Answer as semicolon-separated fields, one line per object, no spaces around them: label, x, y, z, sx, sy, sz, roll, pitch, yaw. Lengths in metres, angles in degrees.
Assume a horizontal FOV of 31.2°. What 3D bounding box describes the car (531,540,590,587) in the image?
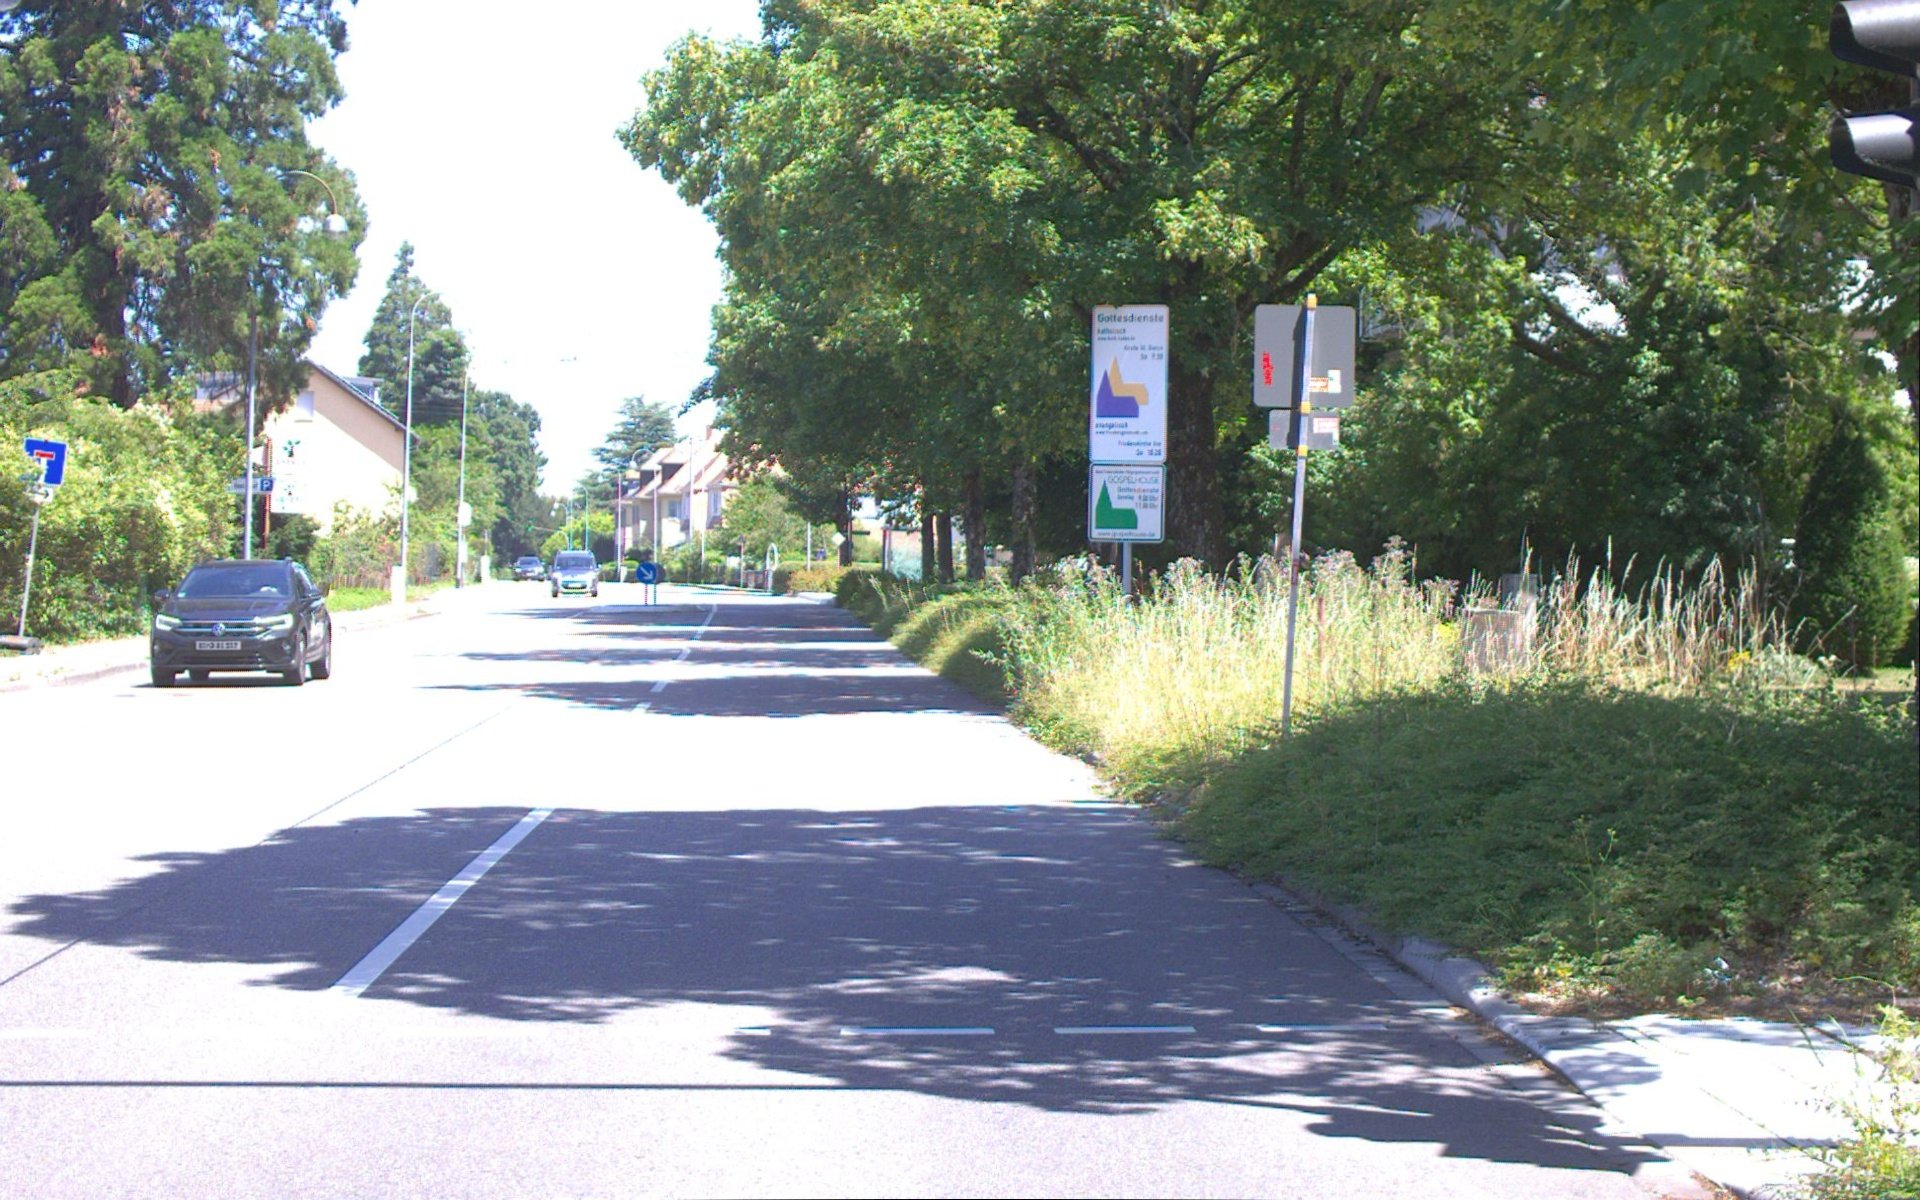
car;-15.402;-1.421;132.679;1.811;1.756;4.570;2;1;-1

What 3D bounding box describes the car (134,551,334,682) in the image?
car;-8.702;0.164;41.495;1.869;1.501;4.053;0;1;-5

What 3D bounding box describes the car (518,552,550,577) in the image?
car;-26.871;-2.246;216.864;1.822;1.546;4.001;0;1;-4
